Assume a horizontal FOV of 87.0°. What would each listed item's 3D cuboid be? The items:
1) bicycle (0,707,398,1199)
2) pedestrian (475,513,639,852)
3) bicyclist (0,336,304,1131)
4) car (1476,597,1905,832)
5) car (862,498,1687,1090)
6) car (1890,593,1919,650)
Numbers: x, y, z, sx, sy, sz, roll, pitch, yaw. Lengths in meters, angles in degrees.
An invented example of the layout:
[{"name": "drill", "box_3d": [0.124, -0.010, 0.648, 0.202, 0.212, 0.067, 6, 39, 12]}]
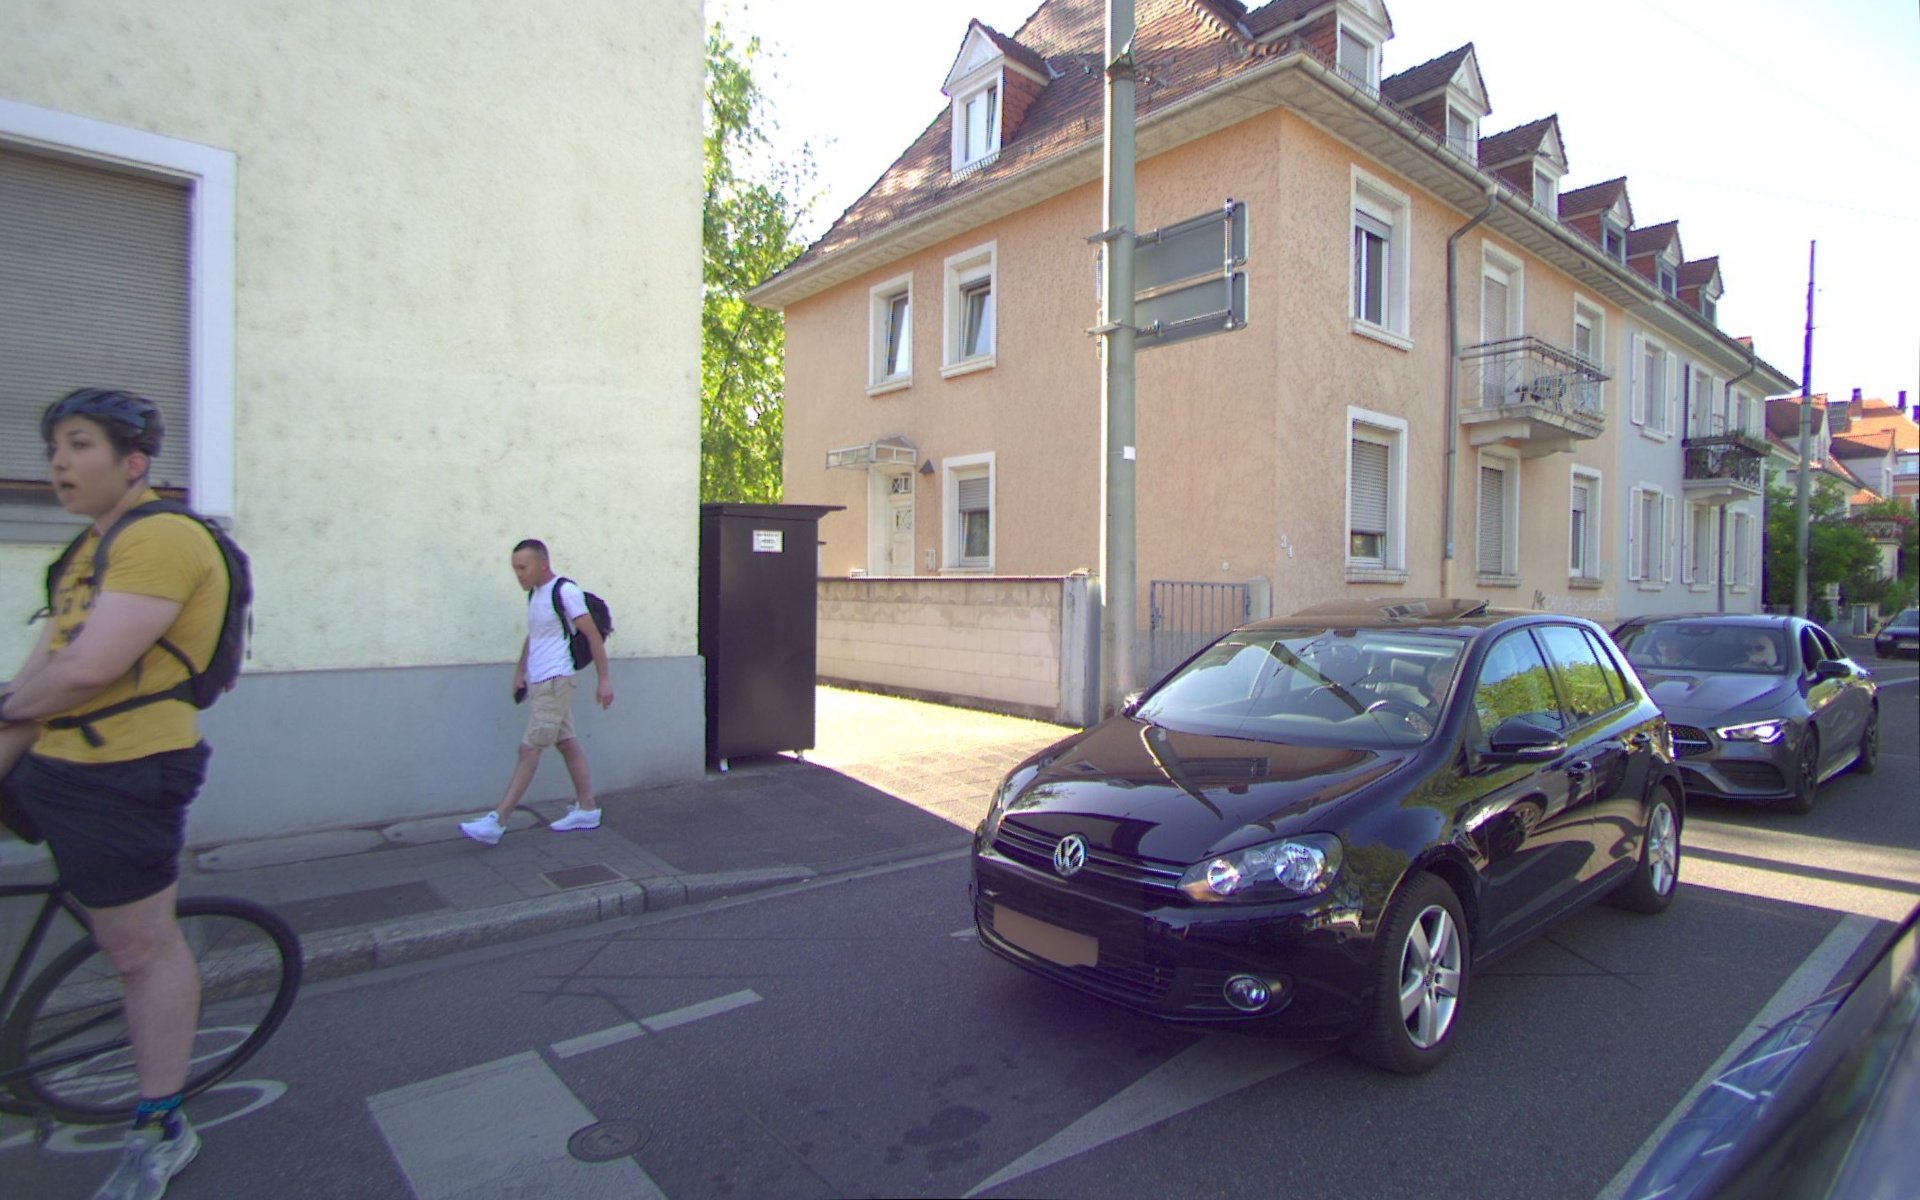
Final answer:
[{"name": "bicycle", "box_3d": [-2.379, 0.876, 2.379, 1.749, 1.044, 0.756, -1, 0, -40]}, {"name": "pedestrian", "box_3d": [-2.259, 0.420, 5.714, 0.577, 1.776, 0.641, 4, 4, 11]}, {"name": "bicyclist", "box_3d": [-2.208, 0.279, 2.527, 0.868, 1.684, 0.807, 0, 0, -40]}, {"name": "car", "box_3d": [6.307, 0.715, 8.542, 4.413, 1.437, 1.911, -1, 1, -40]}, {"name": "car", "box_3d": [1.694, 0.542, 4.585, 3.979, 1.527, 1.731, 2, -1, -41]}, {"name": "car", "box_3d": [26.729, 0.550, 27.414, 3.930, 1.476, 1.839, -1, 0, -41]}]
